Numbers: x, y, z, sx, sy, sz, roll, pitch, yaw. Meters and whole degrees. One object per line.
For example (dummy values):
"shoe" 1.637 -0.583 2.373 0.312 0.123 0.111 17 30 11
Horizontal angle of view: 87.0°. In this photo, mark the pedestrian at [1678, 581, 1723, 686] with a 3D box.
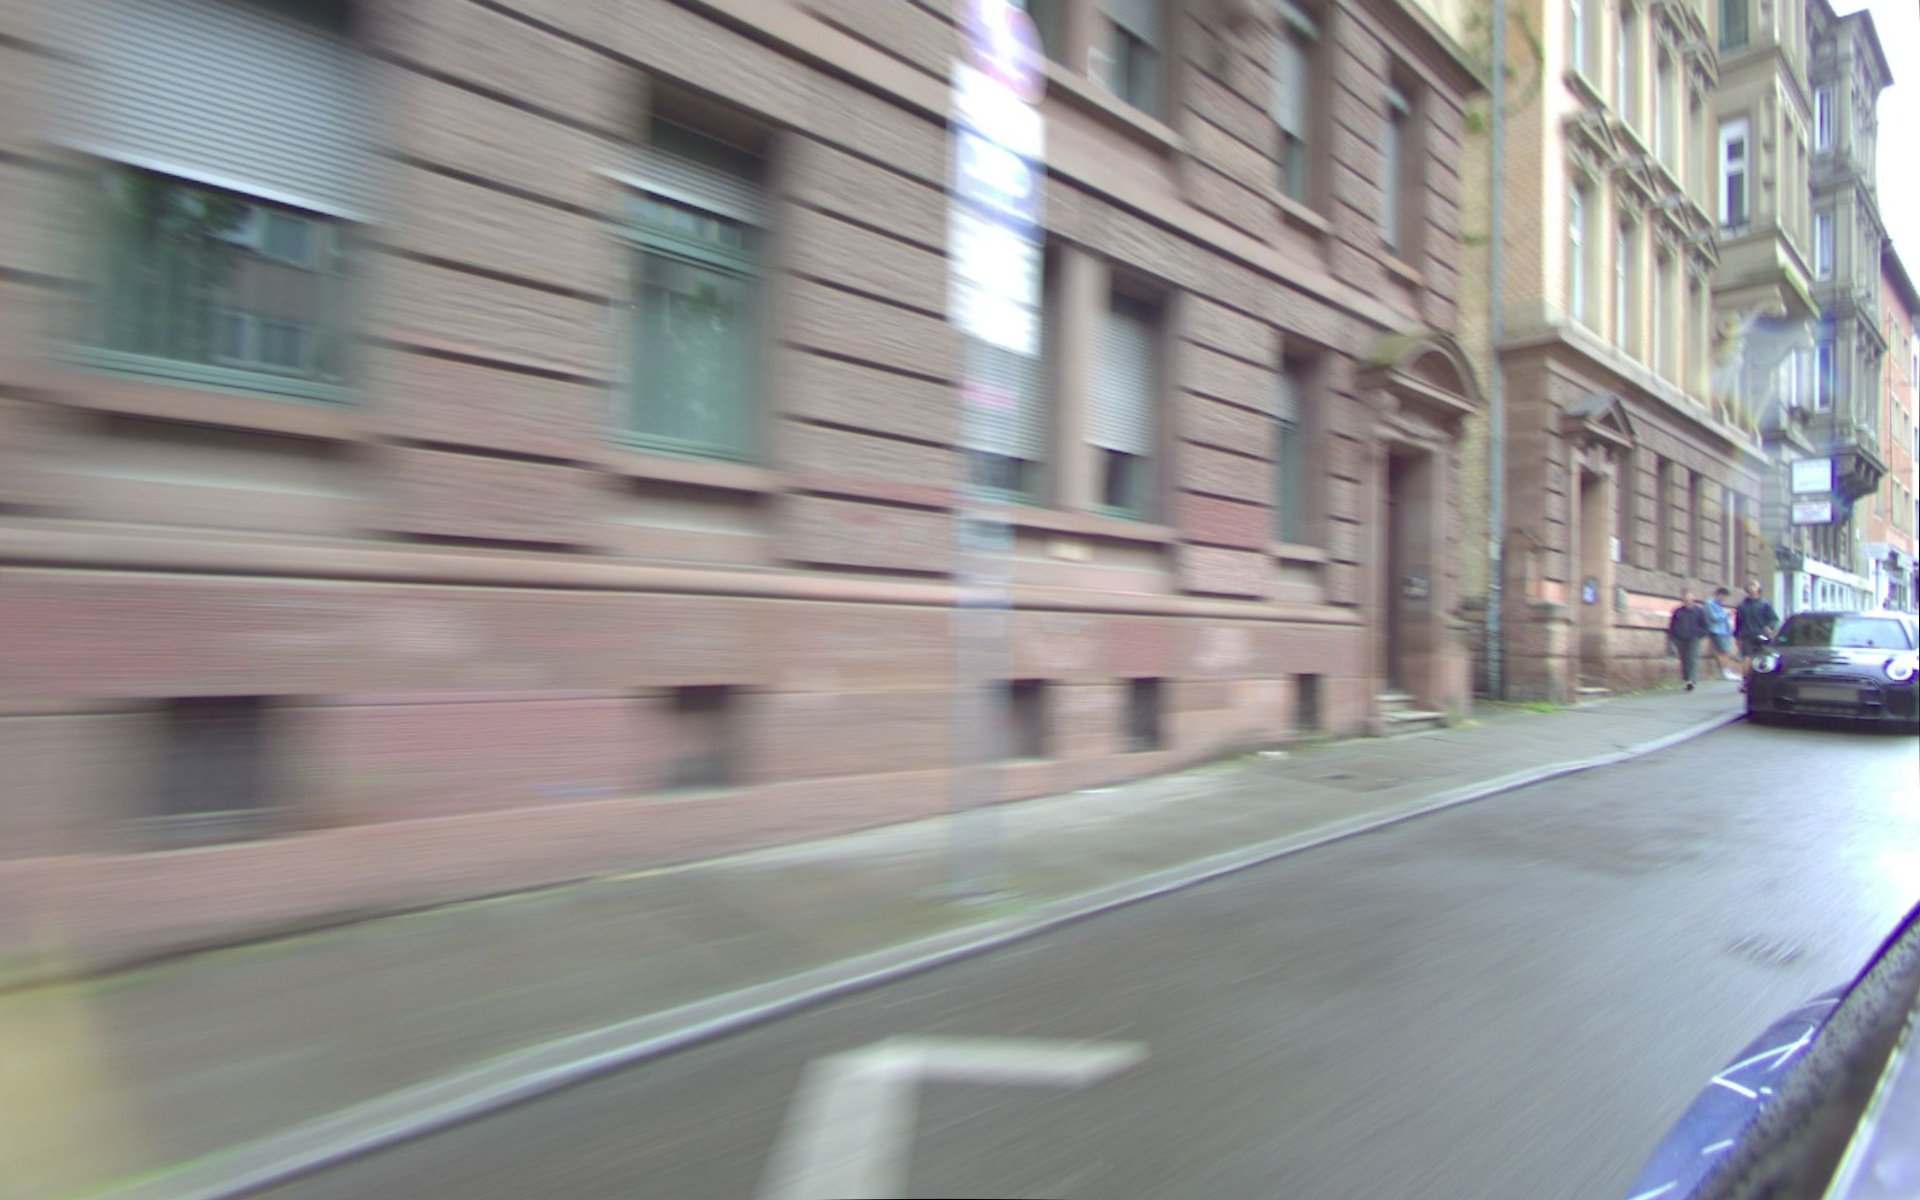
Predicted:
"pedestrian" 11.992 0.521 16.388 0.621 1.665 0.488 0 0 -45

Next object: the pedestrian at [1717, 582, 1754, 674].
"pedestrian" 14.439 0.509 18.837 0.456 1.665 0.484 0 0 -45

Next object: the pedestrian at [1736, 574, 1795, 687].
"pedestrian" 13.049 0.469 16.393 0.868 1.784 0.652 0 0 -45

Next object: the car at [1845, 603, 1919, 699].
"car" 15.998 0.789 16.811 3.765 1.431 1.586 0 0 -43

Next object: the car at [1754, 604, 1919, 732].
"car" 11.557 0.756 12.955 3.765 1.368 1.625 0 0 -43
